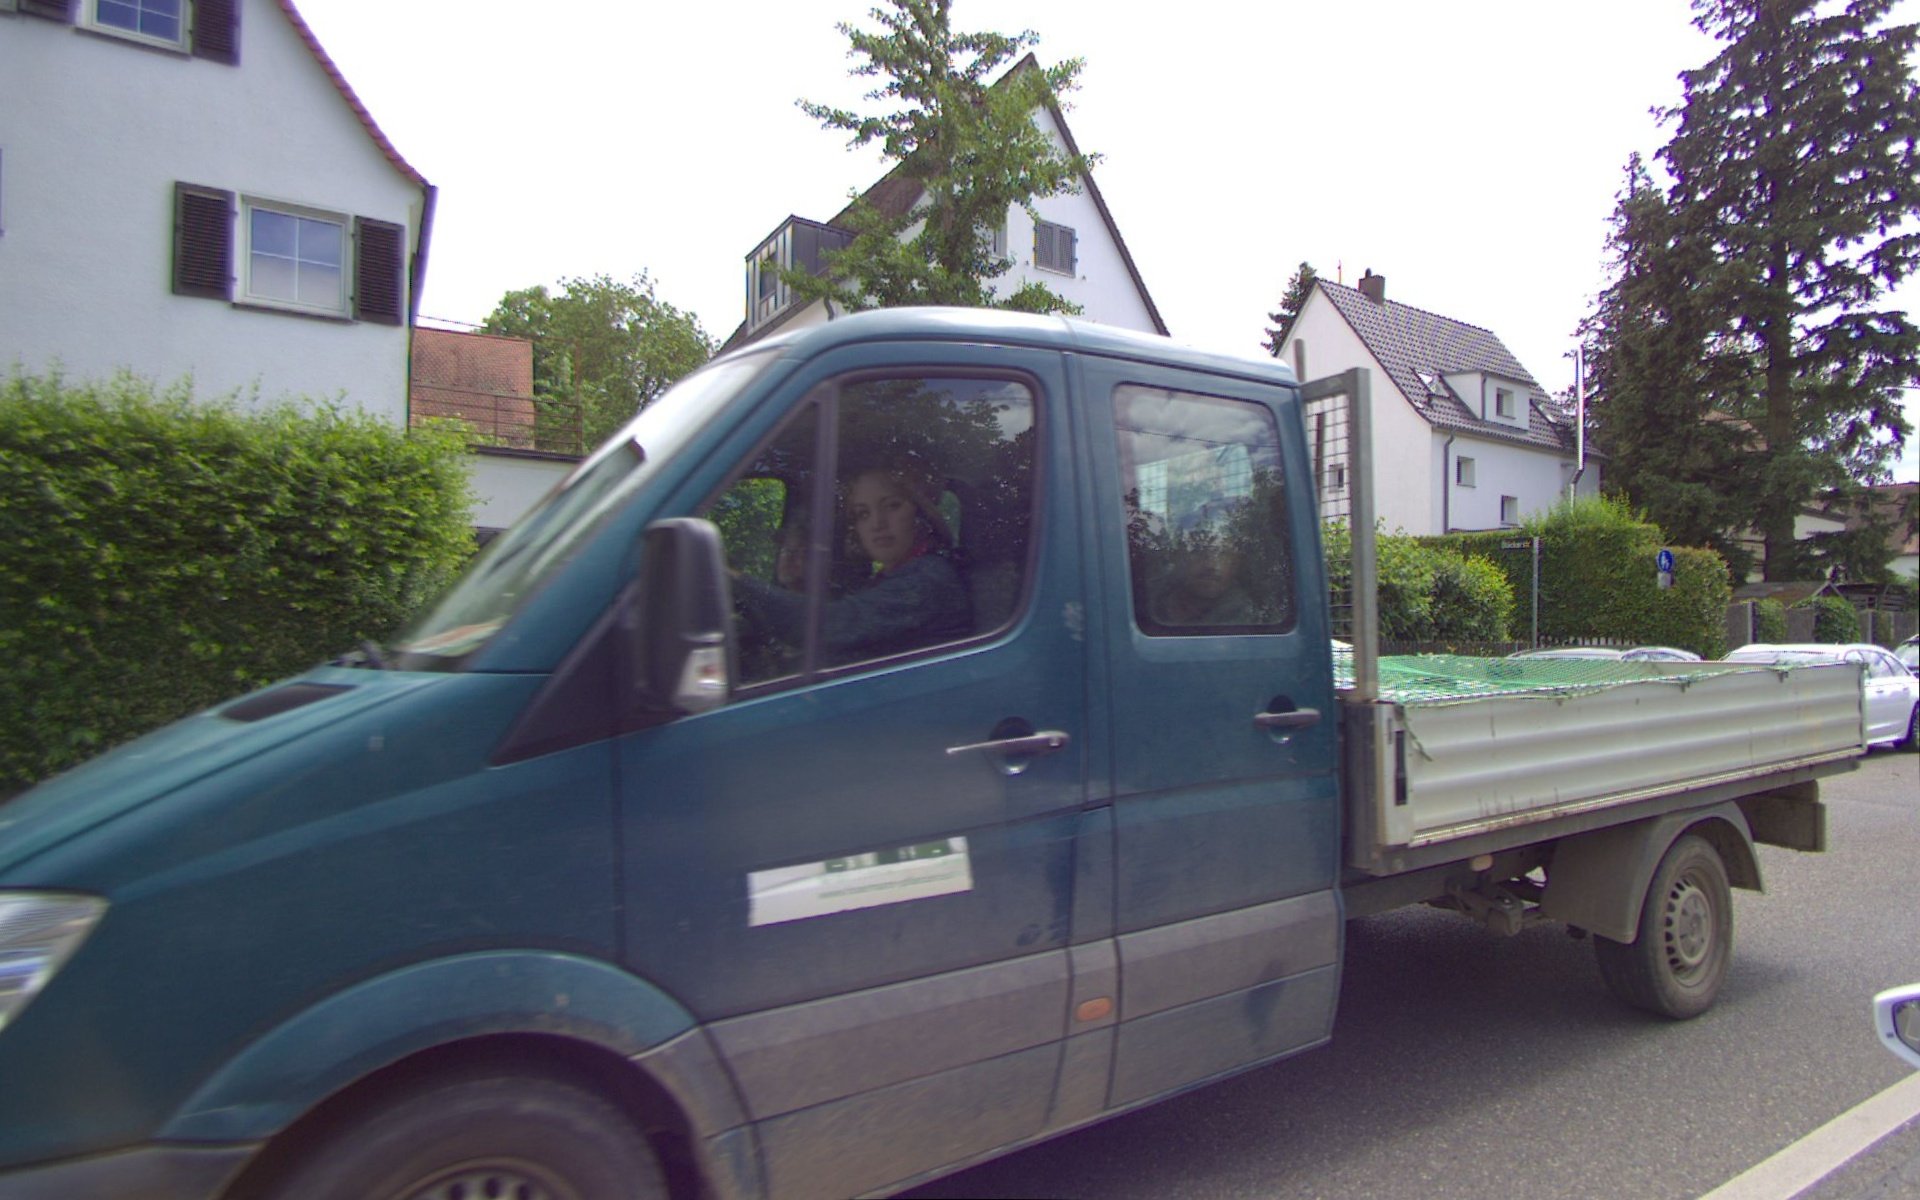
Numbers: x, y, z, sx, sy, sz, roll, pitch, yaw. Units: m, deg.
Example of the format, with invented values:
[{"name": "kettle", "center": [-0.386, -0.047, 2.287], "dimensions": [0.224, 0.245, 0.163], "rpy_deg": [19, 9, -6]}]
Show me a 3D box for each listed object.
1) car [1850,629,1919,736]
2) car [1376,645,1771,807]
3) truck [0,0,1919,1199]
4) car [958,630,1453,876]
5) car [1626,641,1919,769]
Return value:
[{"name": "car", "center": [17.088, 1.353, 17.102], "dimensions": [4.532, 1.700, 1.618], "rpy_deg": [1, -3, -32]}, {"name": "car", "center": [6.624, 1.205, 10.763], "dimensions": [4.270, 1.429, 1.735], "rpy_deg": [1, -3, -29]}, {"name": "truck", "center": [0.979, 0.372, 3.915], "dimensions": [6.822, 2.402, 2.179], "rpy_deg": [1, -3, -30]}, {"name": "car", "center": [1.996, 1.042, 8.044], "dimensions": [3.697, 1.563, 1.695], "rpy_deg": [1, -3, -29]}, {"name": "car", "center": [11.389, 1.303, 13.660], "dimensions": [5.007, 1.478, 1.798], "rpy_deg": [1, -3, -30]}]
